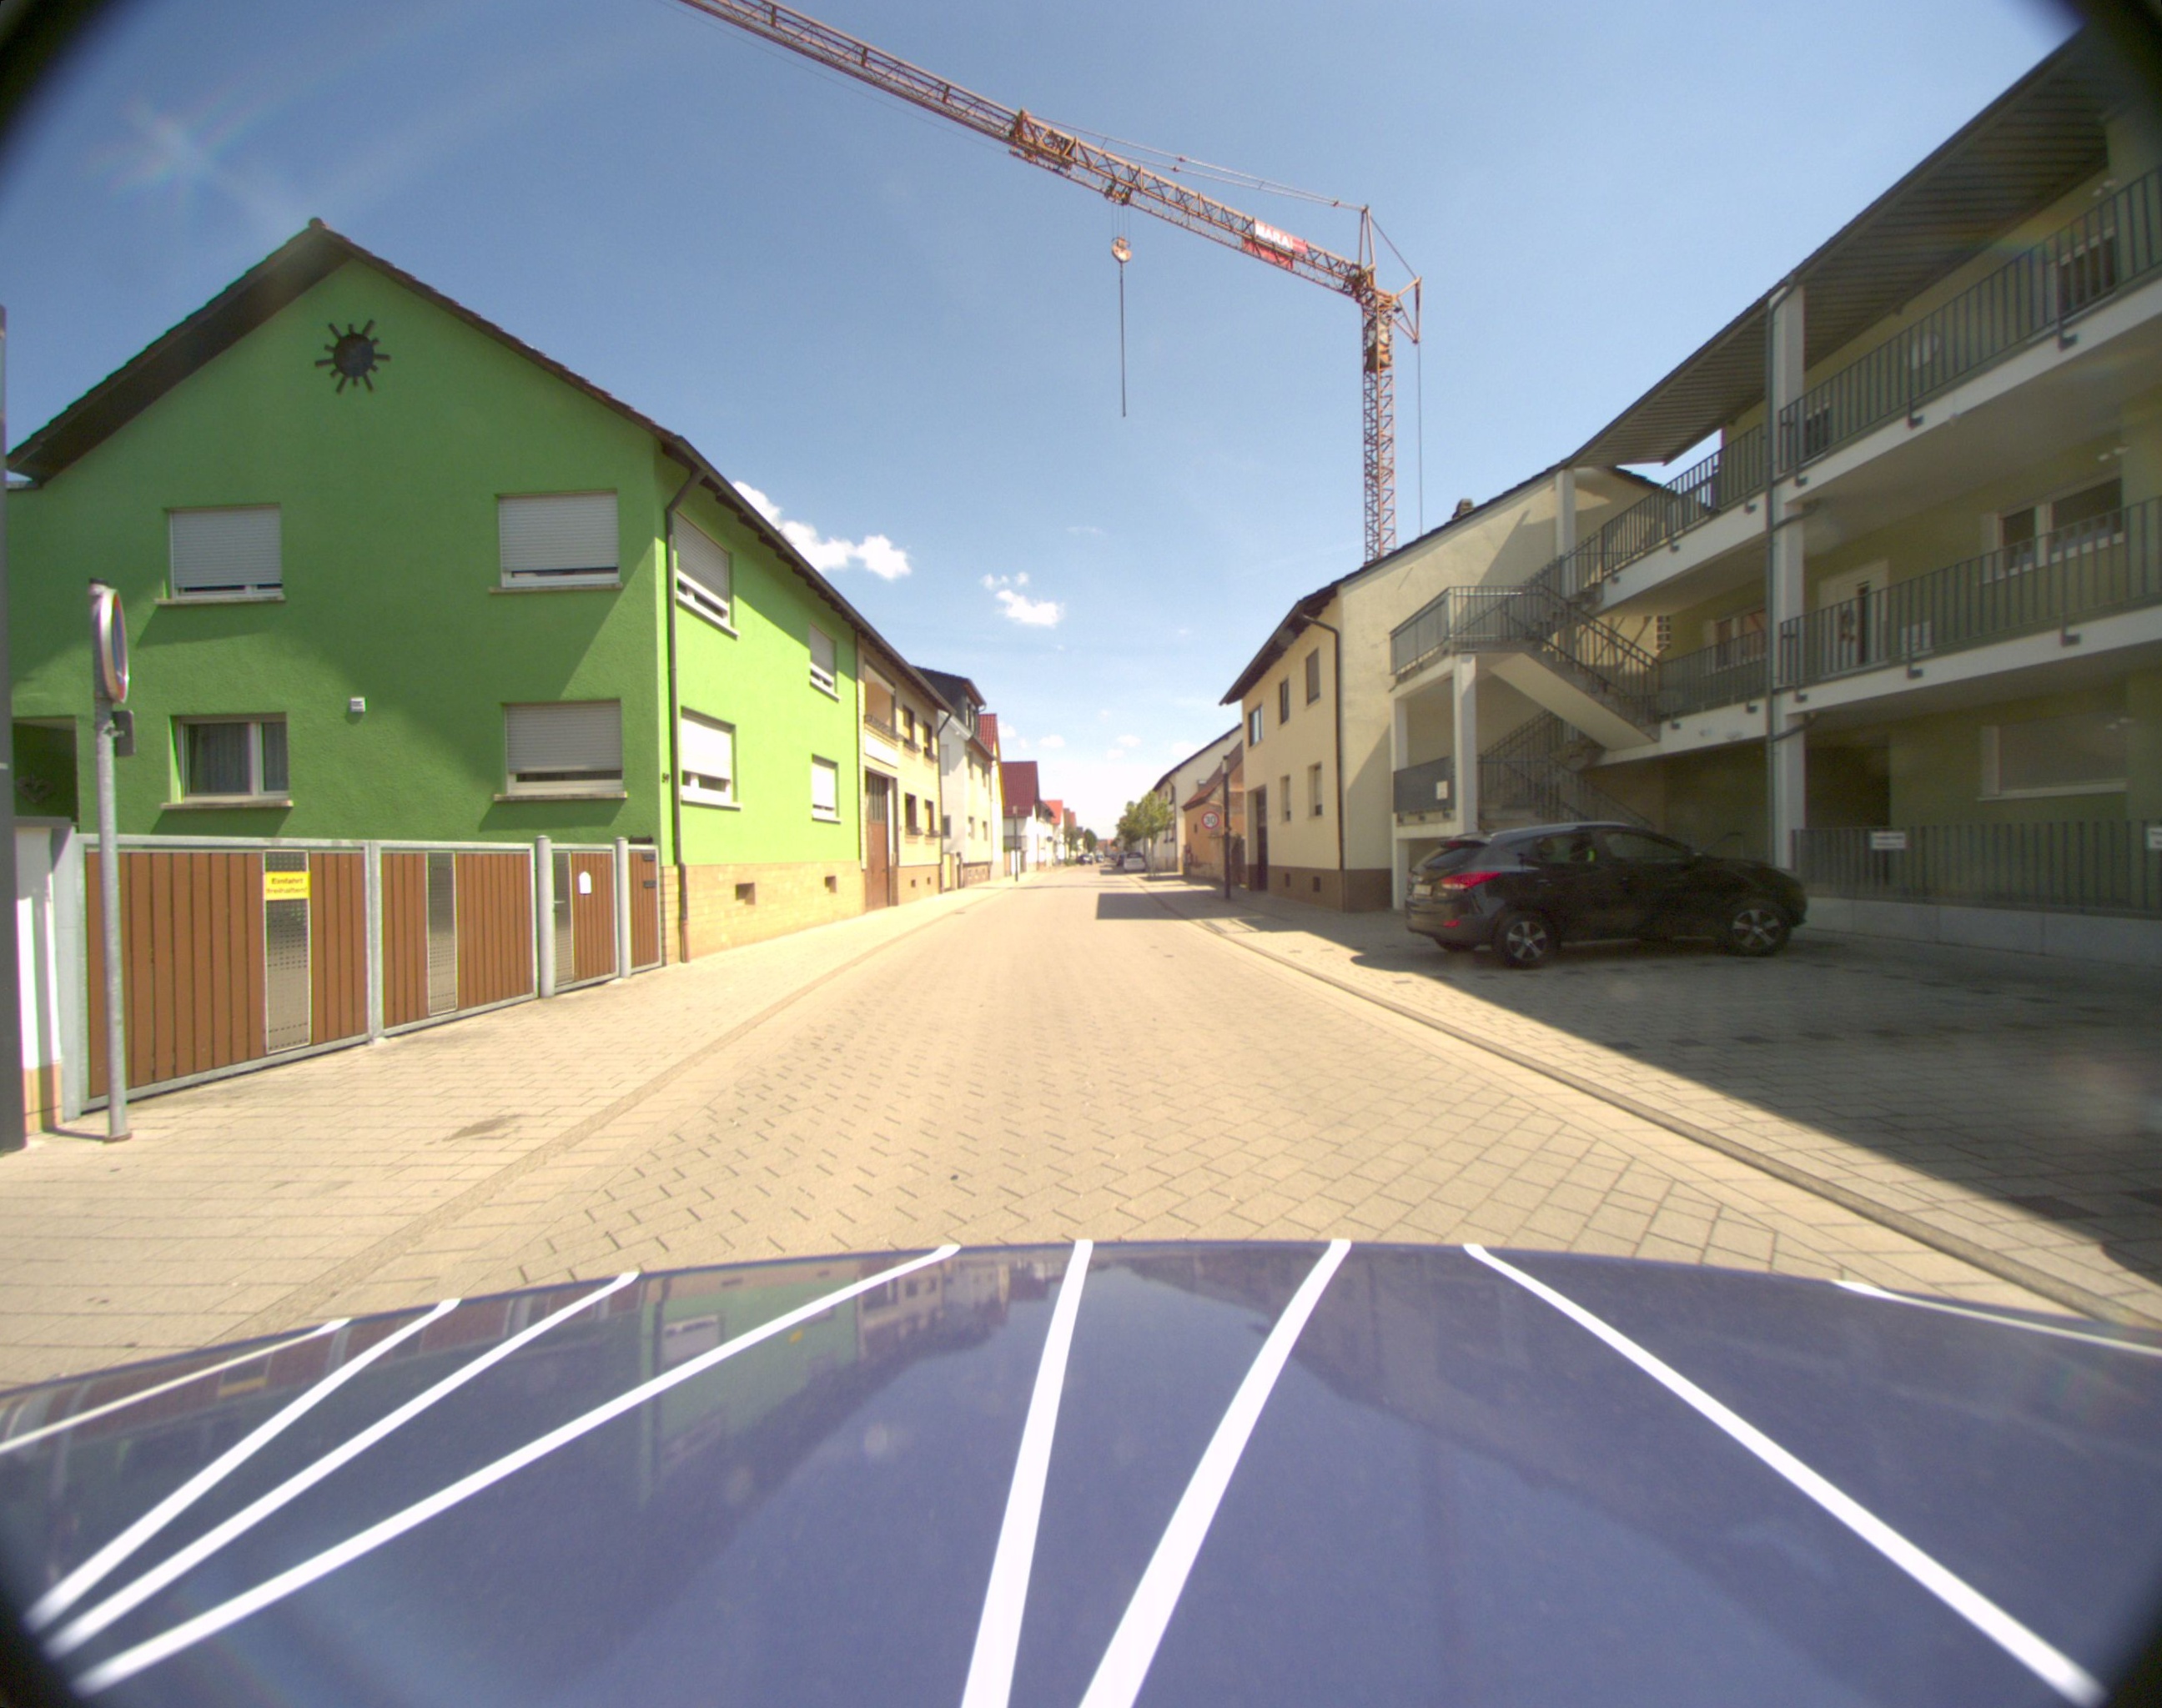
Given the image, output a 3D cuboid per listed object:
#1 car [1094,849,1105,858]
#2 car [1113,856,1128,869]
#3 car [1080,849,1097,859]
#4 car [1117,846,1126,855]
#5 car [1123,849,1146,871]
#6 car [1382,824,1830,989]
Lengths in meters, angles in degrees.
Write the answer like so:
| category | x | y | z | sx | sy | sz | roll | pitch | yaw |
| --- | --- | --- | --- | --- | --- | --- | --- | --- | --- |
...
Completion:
| category | x | y | z | sx | sy | sz | roll | pitch | yaw |
| --- | --- | --- | --- | --- | --- | --- | --- | --- | --- |
| car | 3.230 | -0.045 | 131.971 | 1.957 | 1.521 | 4.001 | -1 | 0 | 3 |
| car | 4.976 | 1.017 | 96.318 | 1.752 | 1.557 | 3.955 | -1 | 0 | 0 |
| car | 1.107 | 0.061 | 111.081 | 1.728 | 1.420 | 3.814 | -1 | 0 | -11 |
| car | 8.105 | -0.653 | 152.300 | 1.851 | 1.688 | 4.000 | -1 | 0 | 2 |
| car | 4.061 | 0.425 | 57.873 | 1.576 | 1.552 | 2.822 | -3 | 0 | 4 |
| car | 6.234 | 0.594 | 9.428 | 4.229 | 1.649 | 1.784 | -3 | 1 | 2 |
